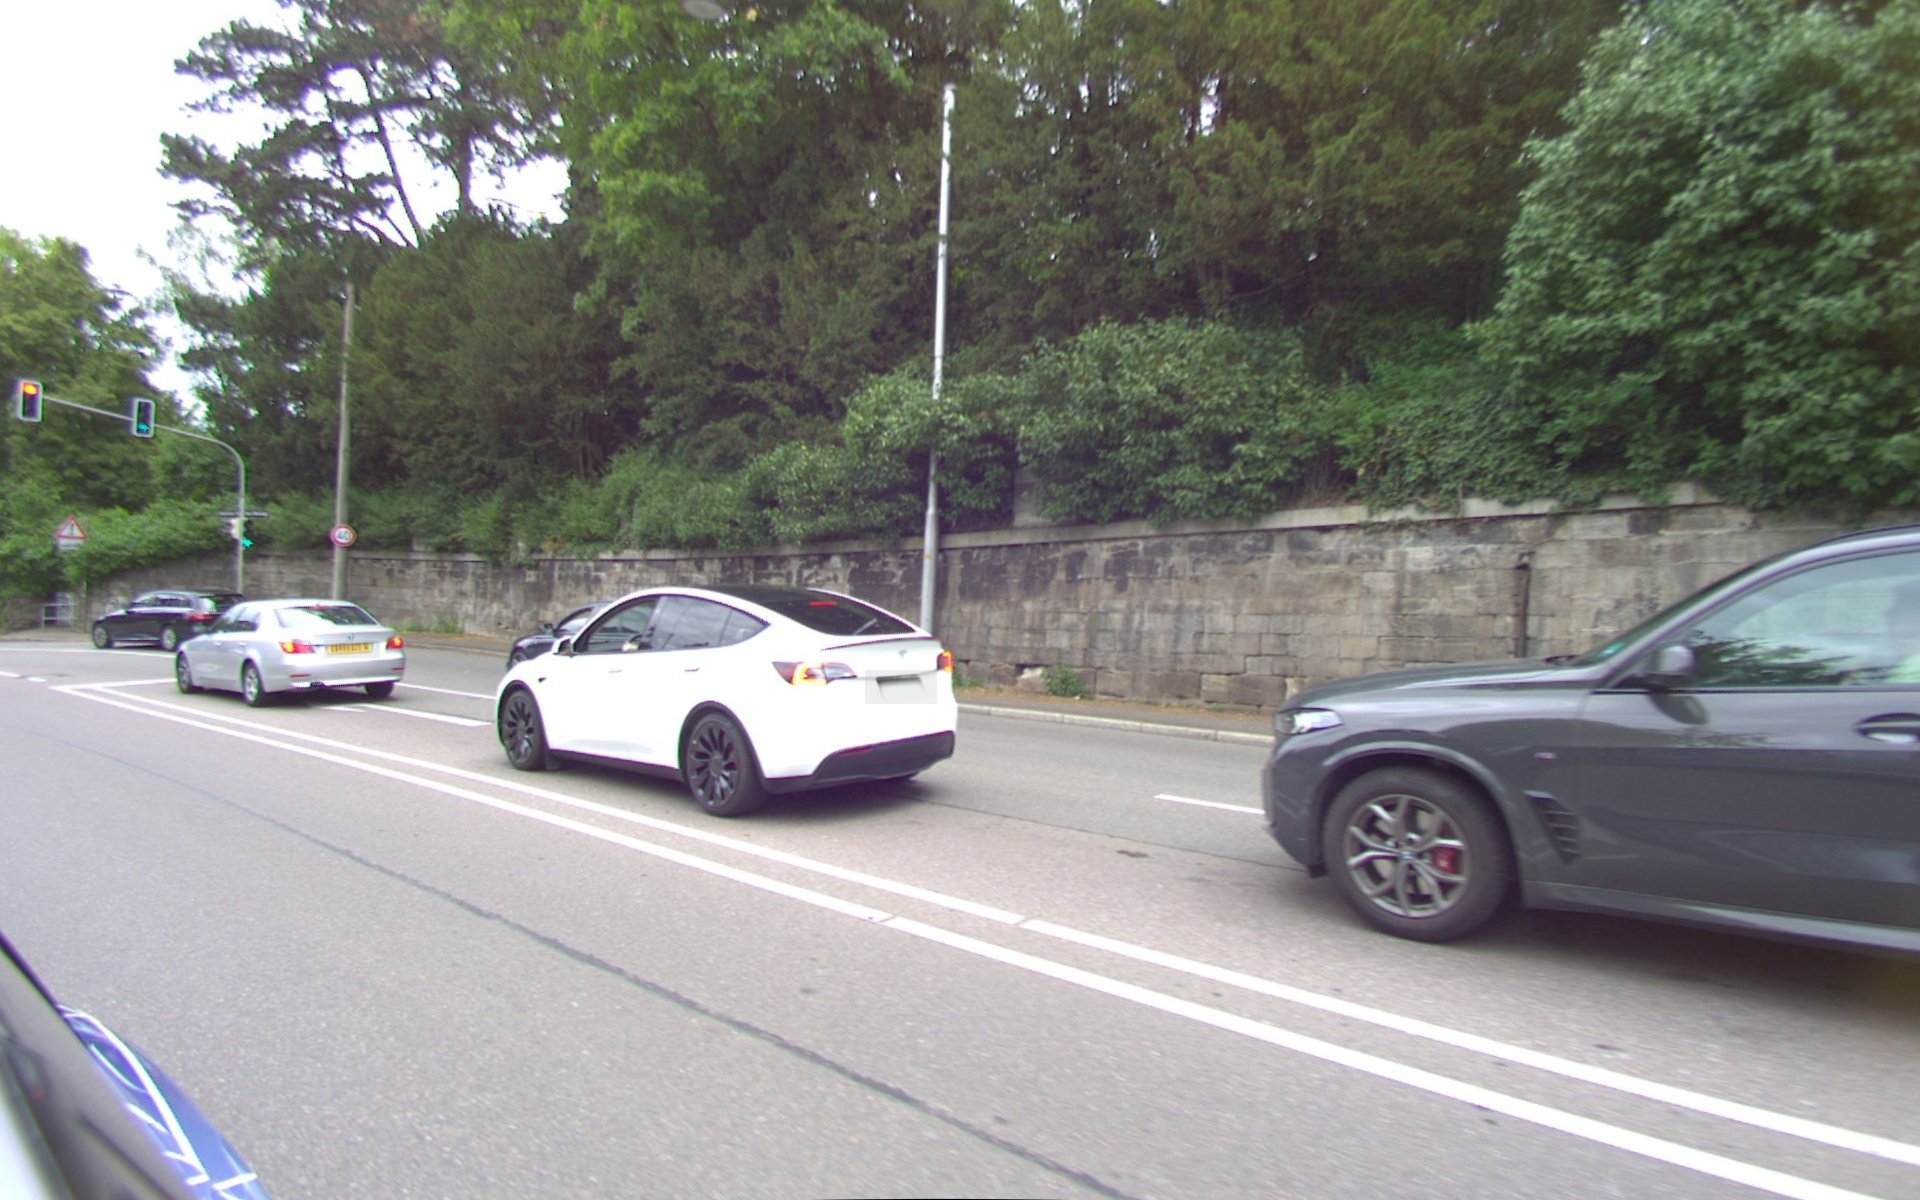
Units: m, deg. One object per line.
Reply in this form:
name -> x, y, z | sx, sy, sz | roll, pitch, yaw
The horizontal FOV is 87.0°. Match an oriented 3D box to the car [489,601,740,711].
car -> -5.294, 0.760, 15.313 | 3.950, 1.445, 1.616 | -1, 0, 36

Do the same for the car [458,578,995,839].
car -> -2.145, 0.669, 8.320 | 4.785, 1.566, 1.819 | -1, 0, 40

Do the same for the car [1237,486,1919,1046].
car -> 3.753, 0.541, 3.850 | 4.875, 1.763, 1.939 | -1, -2, 41

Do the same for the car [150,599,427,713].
car -> -10.292, 0.758, 15.383 | 4.869, 1.481, 1.975 | 0, -2, 37

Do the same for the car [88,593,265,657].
car -> -19.357, 0.600, 25.011 | 4.024, 1.463, 1.725 | -1, 0, 23
